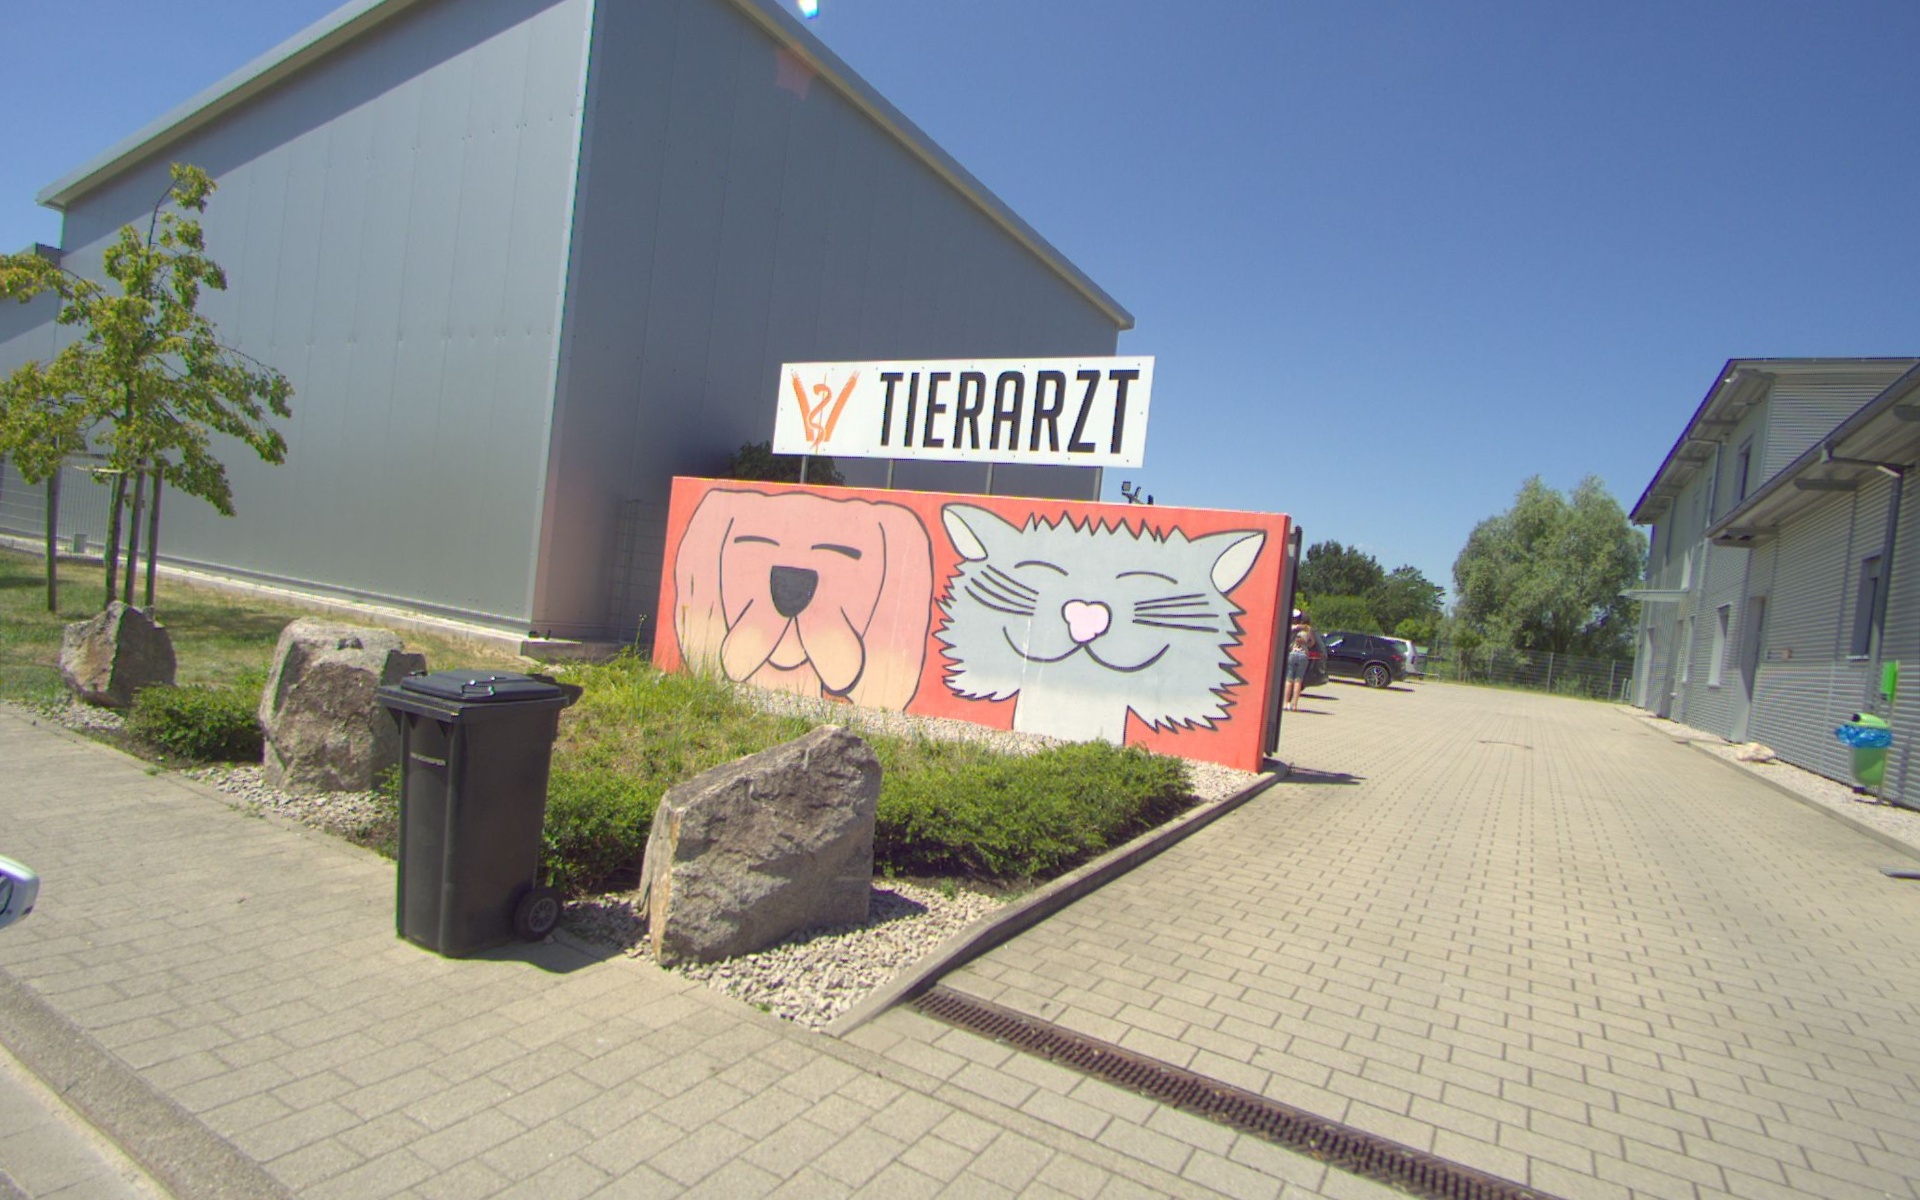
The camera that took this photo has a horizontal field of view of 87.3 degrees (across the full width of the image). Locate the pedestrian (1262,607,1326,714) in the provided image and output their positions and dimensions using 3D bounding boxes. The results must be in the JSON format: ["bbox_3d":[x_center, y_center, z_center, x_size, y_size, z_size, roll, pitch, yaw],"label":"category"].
[{"bbox_3d":[5.840,1.052,17.626,0.760,1.747,0.700,7,1,10],"label":"pedestrian"}]

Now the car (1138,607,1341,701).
[{"bbox_3d":[6.702,1.263,24.118,4.274,1.698,1.998,6,-1,26],"label":"car"}]

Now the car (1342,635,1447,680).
[{"bbox_3d":[19.698,2.609,45.648,4.110,1.561,1.997,6,-1,29],"label":"car"}]

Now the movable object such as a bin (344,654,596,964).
[{"bbox_3d":[-1.778,0.708,3.675,0.530,0.959,0.559,7,2,29],"label":"movable object such as a bin"}]

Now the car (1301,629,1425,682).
[{"bbox_3d":[15.909,2.179,39.728,4.236,1.561,1.997,6,-1,29],"label":"car"}]

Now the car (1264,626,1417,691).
[{"bbox_3d":[12.252,1.865,32.415,4.277,1.561,1.997,6,-1,29],"label":"car"}]
